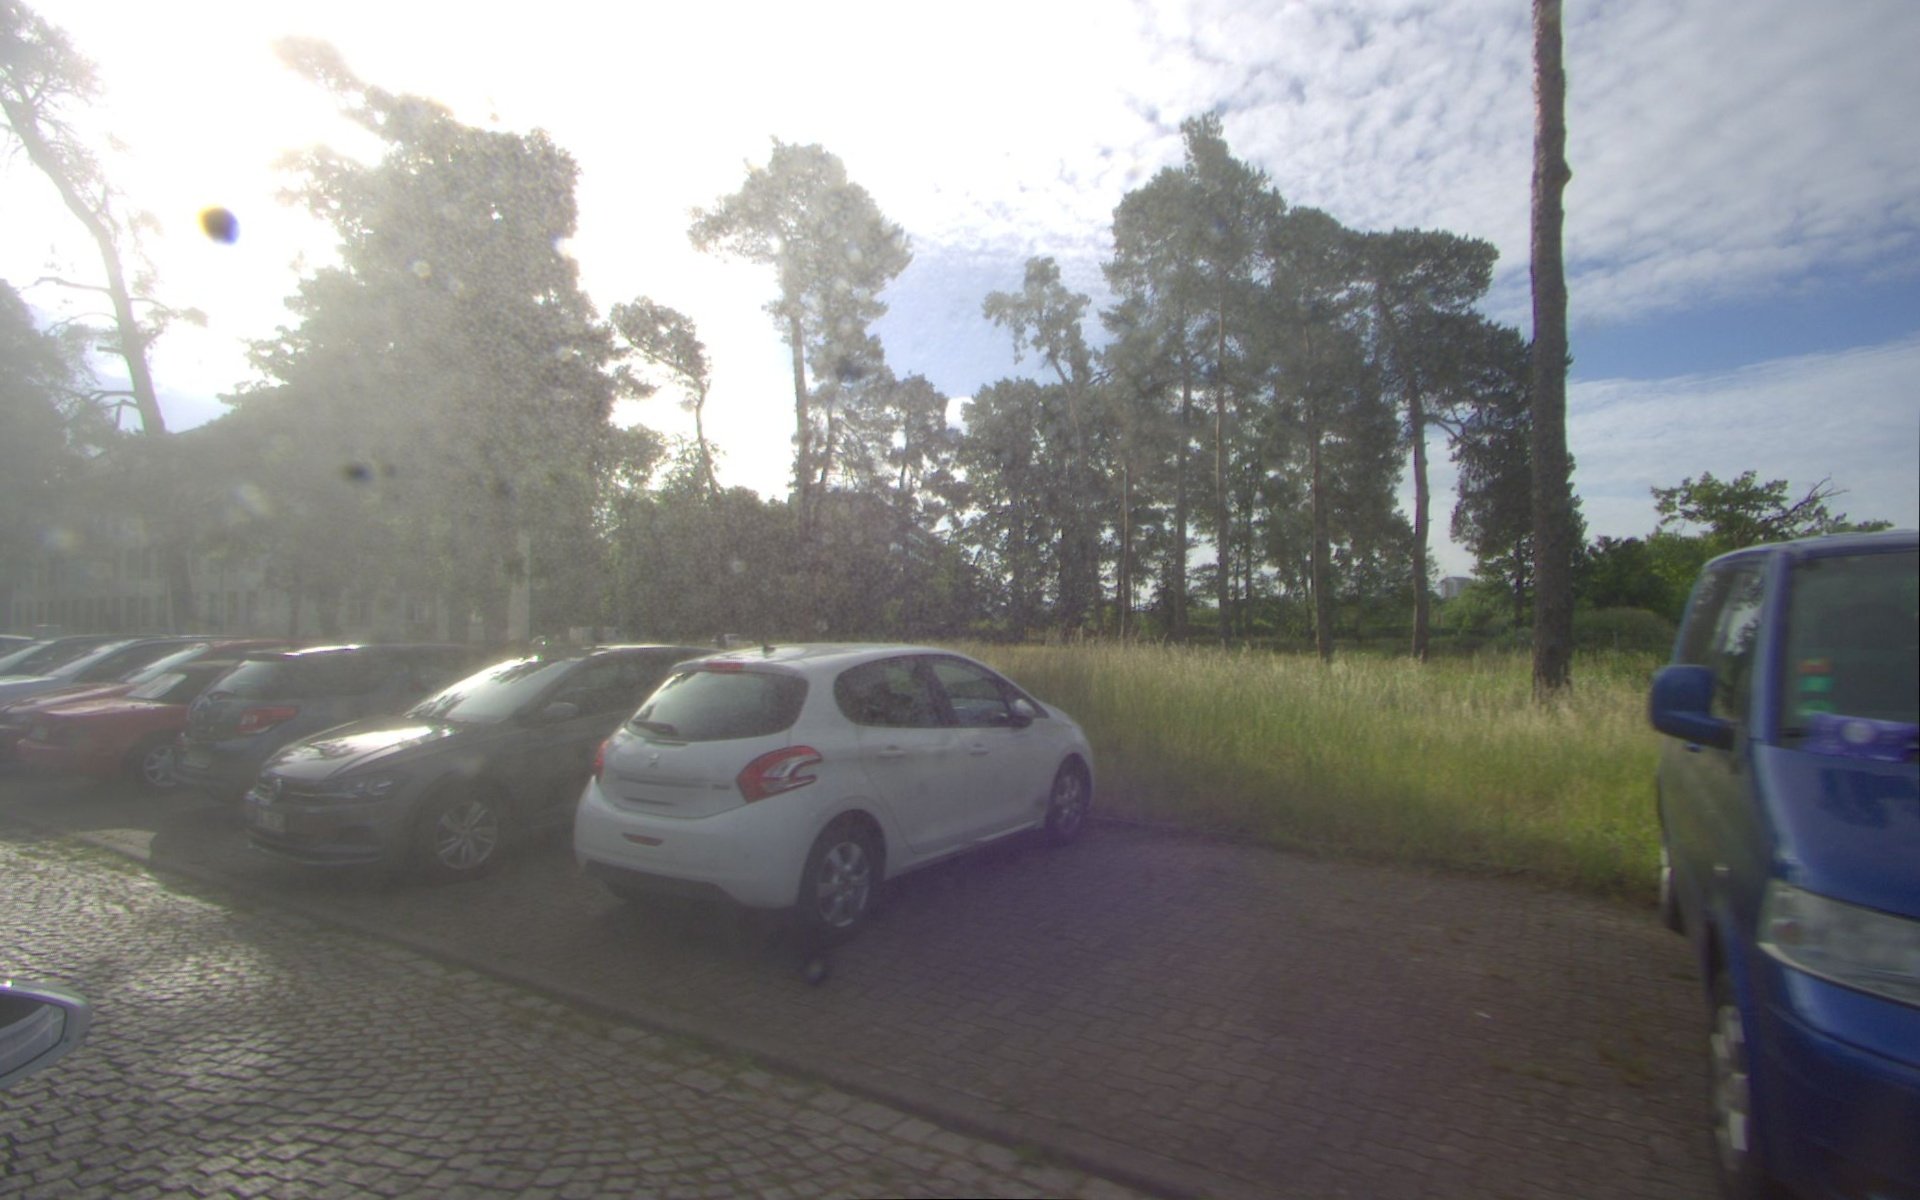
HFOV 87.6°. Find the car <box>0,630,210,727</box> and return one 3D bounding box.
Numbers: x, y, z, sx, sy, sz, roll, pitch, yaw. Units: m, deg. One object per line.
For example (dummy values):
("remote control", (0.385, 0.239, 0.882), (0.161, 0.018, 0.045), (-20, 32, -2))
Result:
("car", (-15.666, 1.282, 16.833), (1.905, 1.524, 4.538), (-1, -2, 31))

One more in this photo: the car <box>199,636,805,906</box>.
("car", (-3.194, 1.038, 7.758), (1.805, 1.486, 3.943), (-2, -2, 33))

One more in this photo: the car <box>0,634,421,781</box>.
("car", (-9.387, 1.194, 12.607), (1.715, 1.492, 4.333), (-2, -2, 32))

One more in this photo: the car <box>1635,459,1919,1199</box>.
("car", (3.698, 0.701, 3.520), (1.964, 1.953, 4.724), (-1, -1, 32))

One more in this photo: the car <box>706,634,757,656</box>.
("car", (-18.352, 3.640, 80.684), (1.829, 1.700, 3.928), (-1, -3, 30))

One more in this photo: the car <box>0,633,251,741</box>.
("car", (-13.683, 1.253, 15.126), (1.866, 1.492, 4.504), (-1, -2, 28))

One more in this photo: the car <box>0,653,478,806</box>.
("car", (-7.632, 1.258, 10.997), (1.702, 1.277, 3.943), (-2, -2, 33))

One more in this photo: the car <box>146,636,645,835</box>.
("car", (-5.268, 1.123, 9.868), (1.747, 1.514, 3.943), (-2, -2, 33))

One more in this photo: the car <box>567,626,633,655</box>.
("car", (-31.927, 3.621, 88.930), (2.233, 2.567, 5.148), (-2, -3, 34))

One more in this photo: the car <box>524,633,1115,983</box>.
("car", (-0.595, 1.005, 6.598), (1.782, 1.550, 3.867), (-2, -2, 33))

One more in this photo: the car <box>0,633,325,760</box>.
("car", (-11.445, 1.212, 13.541), (1.823, 1.492, 4.499), (-2, -2, 32))
